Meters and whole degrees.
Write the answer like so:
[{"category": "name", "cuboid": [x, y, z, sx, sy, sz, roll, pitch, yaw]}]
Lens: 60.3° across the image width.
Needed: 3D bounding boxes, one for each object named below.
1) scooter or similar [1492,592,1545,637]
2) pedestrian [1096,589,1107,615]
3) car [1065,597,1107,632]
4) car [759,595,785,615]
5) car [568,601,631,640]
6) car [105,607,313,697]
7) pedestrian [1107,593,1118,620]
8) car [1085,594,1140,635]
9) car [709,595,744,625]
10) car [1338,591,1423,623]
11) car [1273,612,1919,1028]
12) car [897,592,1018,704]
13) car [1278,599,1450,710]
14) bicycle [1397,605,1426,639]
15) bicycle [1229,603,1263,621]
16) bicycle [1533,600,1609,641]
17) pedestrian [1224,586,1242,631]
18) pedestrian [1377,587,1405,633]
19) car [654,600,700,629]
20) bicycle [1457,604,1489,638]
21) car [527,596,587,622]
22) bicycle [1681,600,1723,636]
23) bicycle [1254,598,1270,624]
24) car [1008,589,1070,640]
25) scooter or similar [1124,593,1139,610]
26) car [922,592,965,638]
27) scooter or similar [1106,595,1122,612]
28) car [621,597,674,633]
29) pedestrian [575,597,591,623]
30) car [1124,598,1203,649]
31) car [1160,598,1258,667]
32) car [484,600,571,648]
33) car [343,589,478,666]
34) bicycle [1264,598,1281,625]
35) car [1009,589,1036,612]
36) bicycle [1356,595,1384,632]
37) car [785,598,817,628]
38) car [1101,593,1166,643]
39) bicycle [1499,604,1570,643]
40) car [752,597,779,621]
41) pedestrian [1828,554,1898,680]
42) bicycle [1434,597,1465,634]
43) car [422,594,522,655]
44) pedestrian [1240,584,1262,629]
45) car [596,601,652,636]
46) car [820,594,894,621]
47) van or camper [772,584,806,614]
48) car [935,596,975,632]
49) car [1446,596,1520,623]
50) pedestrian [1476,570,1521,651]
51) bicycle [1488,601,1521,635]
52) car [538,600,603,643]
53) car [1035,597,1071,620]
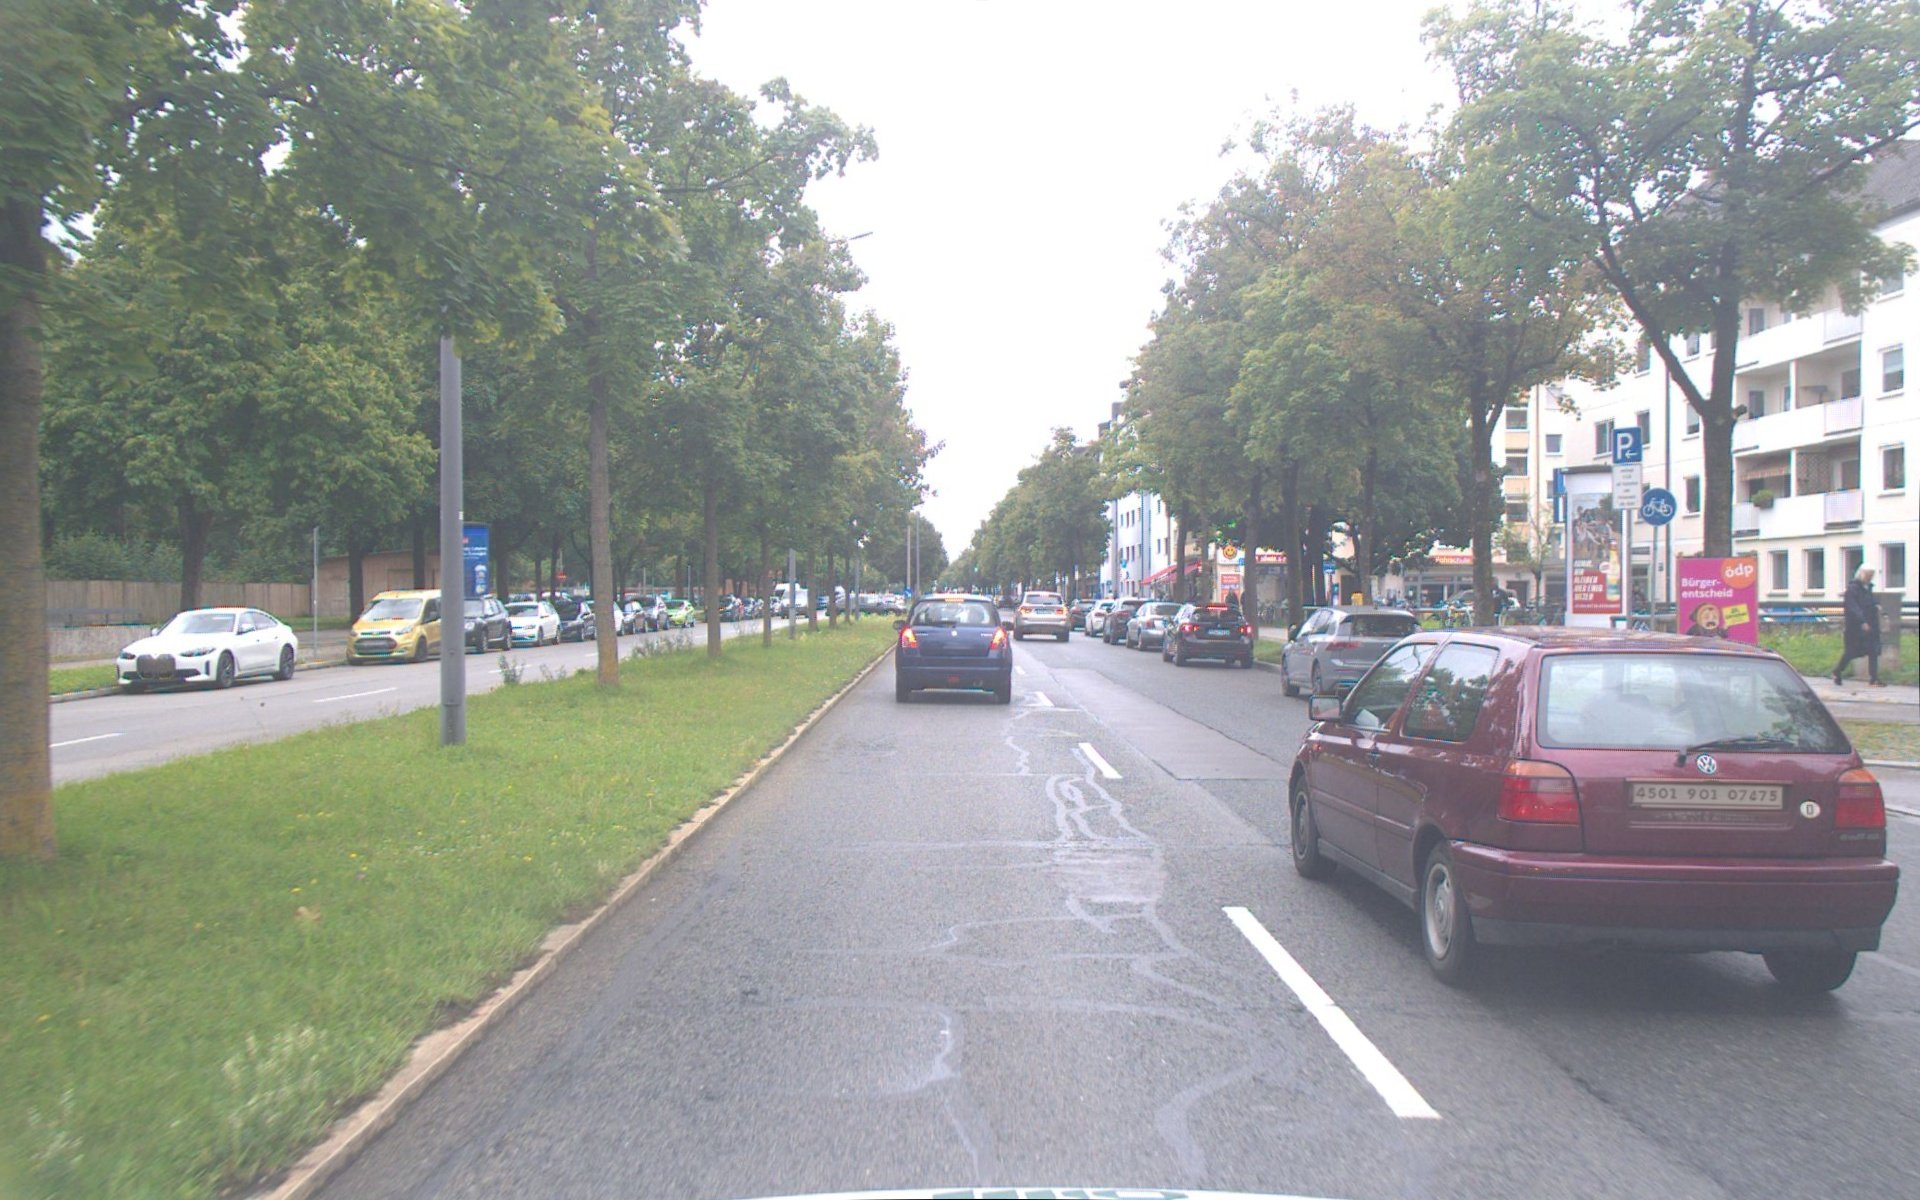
[{"category": "scooter or similar", "cuboid": [15.311, 0.399, 45.368, 0.355, 1.221, 1.369, -1, 0, -42]}, {"category": "pedestrian", "cuboid": [11.117, 0.171, 130.021, 0.778, 2.049, 1.006, 0, 0, 0]}, {"category": "car", "cuboid": [5.765, 0.655, 76.140, 1.584, 1.491, 3.674, 2, 0, 0]}, {"category": "car", "cuboid": [-14.789, 0.392, 130.299, 1.599, 1.456, 3.878, 1, 0, -1]}, {"category": "car", "cuboid": [-14.465, 0.791, 66.504, 1.574, 1.469, 4.279, -2, 0, 0]}, {"category": "car", "cuboid": [-14.351, 0.935, 31.953, 1.819, 1.498, 4.874, -2, 0, -1]}, {"category": "pedestrian", "cuboid": [11.979, 0.512, 129.988, 0.778, 2.049, 1.006, 0, 0, 0]}, {"category": "car", "cuboid": [6.014, 0.543, 65.623, 1.648, 1.491, 4.136, 2, 0, -1]}, {"category": "car", "cuboid": [-14.515, 0.615, 102.824, 1.682, 1.771, 3.878, 1, 0, -1]}, {"category": "car", "cuboid": [23.677, 0.388, 93.205, 4.305, 1.690, 1.870, -1, 0, -3]}, {"category": "car", "cuboid": [2.706, 0.794, 7.800, 1.648, 1.408, 3.918, 1, 0, -1]}, {"category": "car", "cuboid": [-0.082, 0.644, 24.598, 1.648, 1.528, 3.918, 0, 0, -1]}, {"category": "car", "cuboid": [6.051, 0.759, 25.203, 1.647, 1.491, 4.115, 1, 0, 1]}, {"category": "bicycle", "cuboid": [14.301, 0.689, 52.394, 0.422, 1.046, 1.884, -1, 0, 1]}, {"category": "bicycle", "cuboid": [16.464, 0.682, 95.258, 1.810, 0.974, 0.557, 1, 0, -2]}, {"category": "bicycle", "cuboid": [16.191, 0.550, 43.844, 1.840, 1.046, 0.432, -1, 0, -4]}, {"category": "pedestrian", "cuboid": [11.654, 0.369, 70.709, 0.576, 1.923, 0.902, -1, 0, -1]}, {"category": "pedestrian", "cuboid": [16.400, 0.384, 63.004, 0.821, 1.710, 0.834, -1, 0, -2]}, {"category": "car", "cuboid": [-14.627, 0.734, 85.683, 1.515, 1.434, 3.880, -2, 0, 2]}, {"category": "bicycle", "cuboid": [16.131, 0.656, 52.074, 0.422, 1.046, 1.884, -1, 0, 1]}, {"category": "car", "cuboid": [-28.000, 0.643, 115.003, 3.843, 1.748, 1.671, 1, 0, -6]}, {"category": "bicycle", "cuboid": [22.293, 0.521, 49.727, 0.422, 1.046, 1.884, -1, 0, 1]}, {"category": "bicycle", "cuboid": [13.417, 0.478, 73.534, 0.381, 1.124, 1.853, 1, 0, 0]}, {"category": "car", "cuboid": [2.738, 0.469, 57.880, 1.828, 1.690, 4.406, 1, 0, -1]}, {"category": "scooter or similar", "cuboid": [13.865, 0.098, 133.710, 1.011, 1.330, 2.755, 0, 0, 0]}, {"category": "car", "cuboid": [-0.589, 0.500, 56.231, 1.414, 1.509, 3.105, 0, 0, -1]}, {"category": "scooter or similar", "cuboid": [12.027, 0.258, 129.266, 1.011, 1.330, 2.755, 0, 0, 0]}, {"category": "car", "cuboid": [-14.579, 0.679, 77.350, 1.656, 1.614, 4.370, -2, 0, -1]}, {"category": "pedestrian", "cuboid": [-22.370, 0.603, 98.127, 0.712, 1.561, 0.721, 1, 0, 0]}, {"category": "car", "cuboid": [6.041, 0.678, 49.549, 1.603, 1.410, 4.241, 1, 0, -3]}, {"category": "car", "cuboid": [5.837, 0.716, 39.109, 1.714, 1.491, 4.176, 1, 0, 1]}, {"category": "car", "cuboid": [-14.417, 0.776, 55.382, 1.727, 1.475, 4.532, -2, 0, -1]}, {"category": "car", "cuboid": [-14.061, 0.653, 42.607, 1.777, 1.814, 4.818, -2, 0, 1]}, {"category": "bicycle", "cuboid": [13.442, 0.491, 71.226, 0.373, 1.122, 1.883, 1, 0, 0]}, {"category": "car", "cuboid": [4.896, 0.025, 129.588, 1.828, 1.712, 4.223, 0, 0, -2]}, {"category": "bicycle", "cuboid": [13.072, 0.423, 52.759, 0.422, 1.153, 1.884, -1, 1, 1]}, {"category": "car", "cuboid": [-10.838, 0.899, 112.840, 1.763, 1.967, 4.993, -1, 0, -1]}, {"category": "car", "cuboid": [5.765, 0.580, 55.429, 1.681, 1.560, 4.275, 1, 0, 0]}, {"category": "bicycle", "cuboid": [16.060, 0.642, 46.259, 1.840, 1.046, 0.432, -1, 0, -4]}, {"category": "car", "cuboid": [-14.672, 0.701, 124.963, 1.599, 1.771, 3.878, 1, 0, -1]}, {"category": "pedestrian", "cuboid": [12.867, 0.240, 23.576, 0.628, 1.760, 0.599, 1, 0, -11]}, {"category": "bicycle", "cuboid": [15.441, 0.477, 52.164, 0.422, 1.120, 1.884, -1, 0, 1]}, {"category": "car", "cuboid": [-14.408, 0.699, 49.022, 1.701, 1.675, 4.255, -2, 0, -1]}, {"category": "pedestrian", "cuboid": [12.440, 0.277, 70.708, 0.714, 1.923, 0.919, -1, 0, -1]}, {"category": "car", "cuboid": [-14.514, 0.789, 71.563, 1.558, 1.421, 3.631, -2, 0, 1]}, {"category": "car", "cuboid": [-5.741, 0.408, 91.857, 4.042, 1.494, 1.837, 0, 0, -6]}, {"category": "van or camper", "cuboid": [-14.934, -0.082, 144.482, 2.073, 2.525, 7.449, 1, 0, 1]}, {"category": "car", "cuboid": [-0.213, 0.597, 71.589, 1.647, 1.488, 3.734, 0, 0, 0]}, {"category": "car", "cuboid": [28.667, 0.496, 90.711, 3.478, 1.442, 1.870, 0, 0, -4]}, {"category": "pedestrian", "cuboid": [12.149, 0.237, 37.333, 0.627, 1.780, 0.848, -2, 0, -5]}, {"category": "bicycle", "cuboid": [17.141, 0.557, 52.100, 0.422, 1.046, 1.884, -1, 0, 1]}, {"category": "car", "cuboid": [-14.226, 0.764, 60.580, 1.581, 1.442, 3.896, -2, 0, -3]}, {"category": "car", "cuboid": [5.983, 0.514, 106.736, 1.828, 1.442, 4.221, 0, 0, -3]}]
